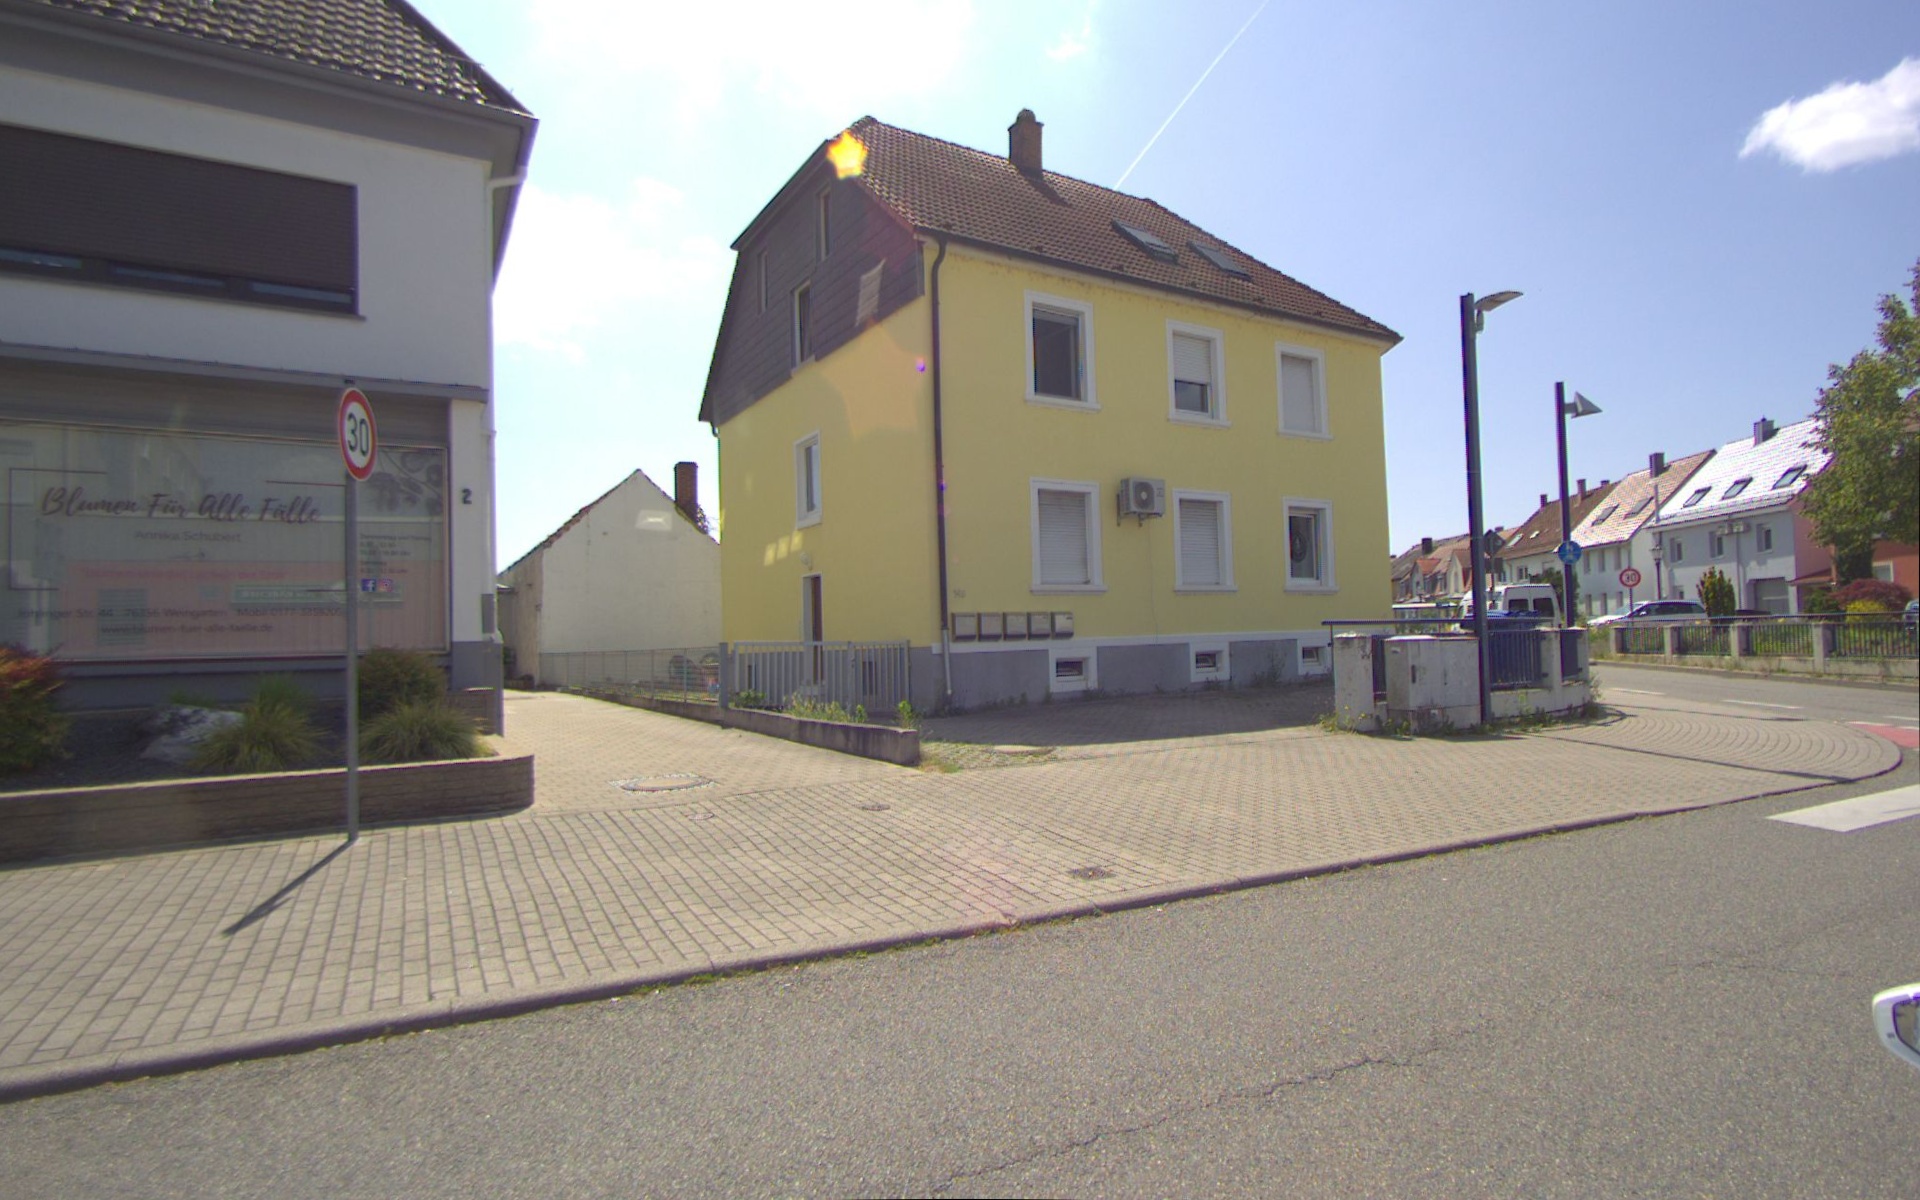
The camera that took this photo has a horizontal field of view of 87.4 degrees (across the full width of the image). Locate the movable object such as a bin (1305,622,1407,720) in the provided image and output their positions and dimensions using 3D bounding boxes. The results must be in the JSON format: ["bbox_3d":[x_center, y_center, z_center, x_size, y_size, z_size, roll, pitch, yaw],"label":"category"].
[{"bbox_3d":[5.281,0.927,13.418,0.891,1.241,0.882,0,-2,-28],"label":"movable object such as a bin"}]

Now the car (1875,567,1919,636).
[{"bbox_3d":[24.360,0.057,23.881,3.540,1.608,1.872,1,1,-4],"label":"car"}]

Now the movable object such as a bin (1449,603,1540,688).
[{"bbox_3d":[8.094,0.674,15.201,1.267,1.229,0.832,1,-2,-43],"label":"movable object such as a bin"}]

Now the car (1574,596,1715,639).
[{"bbox_3d":[26.326,0.667,38.728,4.171,1.508,1.748,1,1,3],"label":"car"}]

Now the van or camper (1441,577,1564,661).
[{"bbox_3d":[18.782,0.632,35.070,1.964,2.665,5.397,2,0,8],"label":"van or camper"}]
